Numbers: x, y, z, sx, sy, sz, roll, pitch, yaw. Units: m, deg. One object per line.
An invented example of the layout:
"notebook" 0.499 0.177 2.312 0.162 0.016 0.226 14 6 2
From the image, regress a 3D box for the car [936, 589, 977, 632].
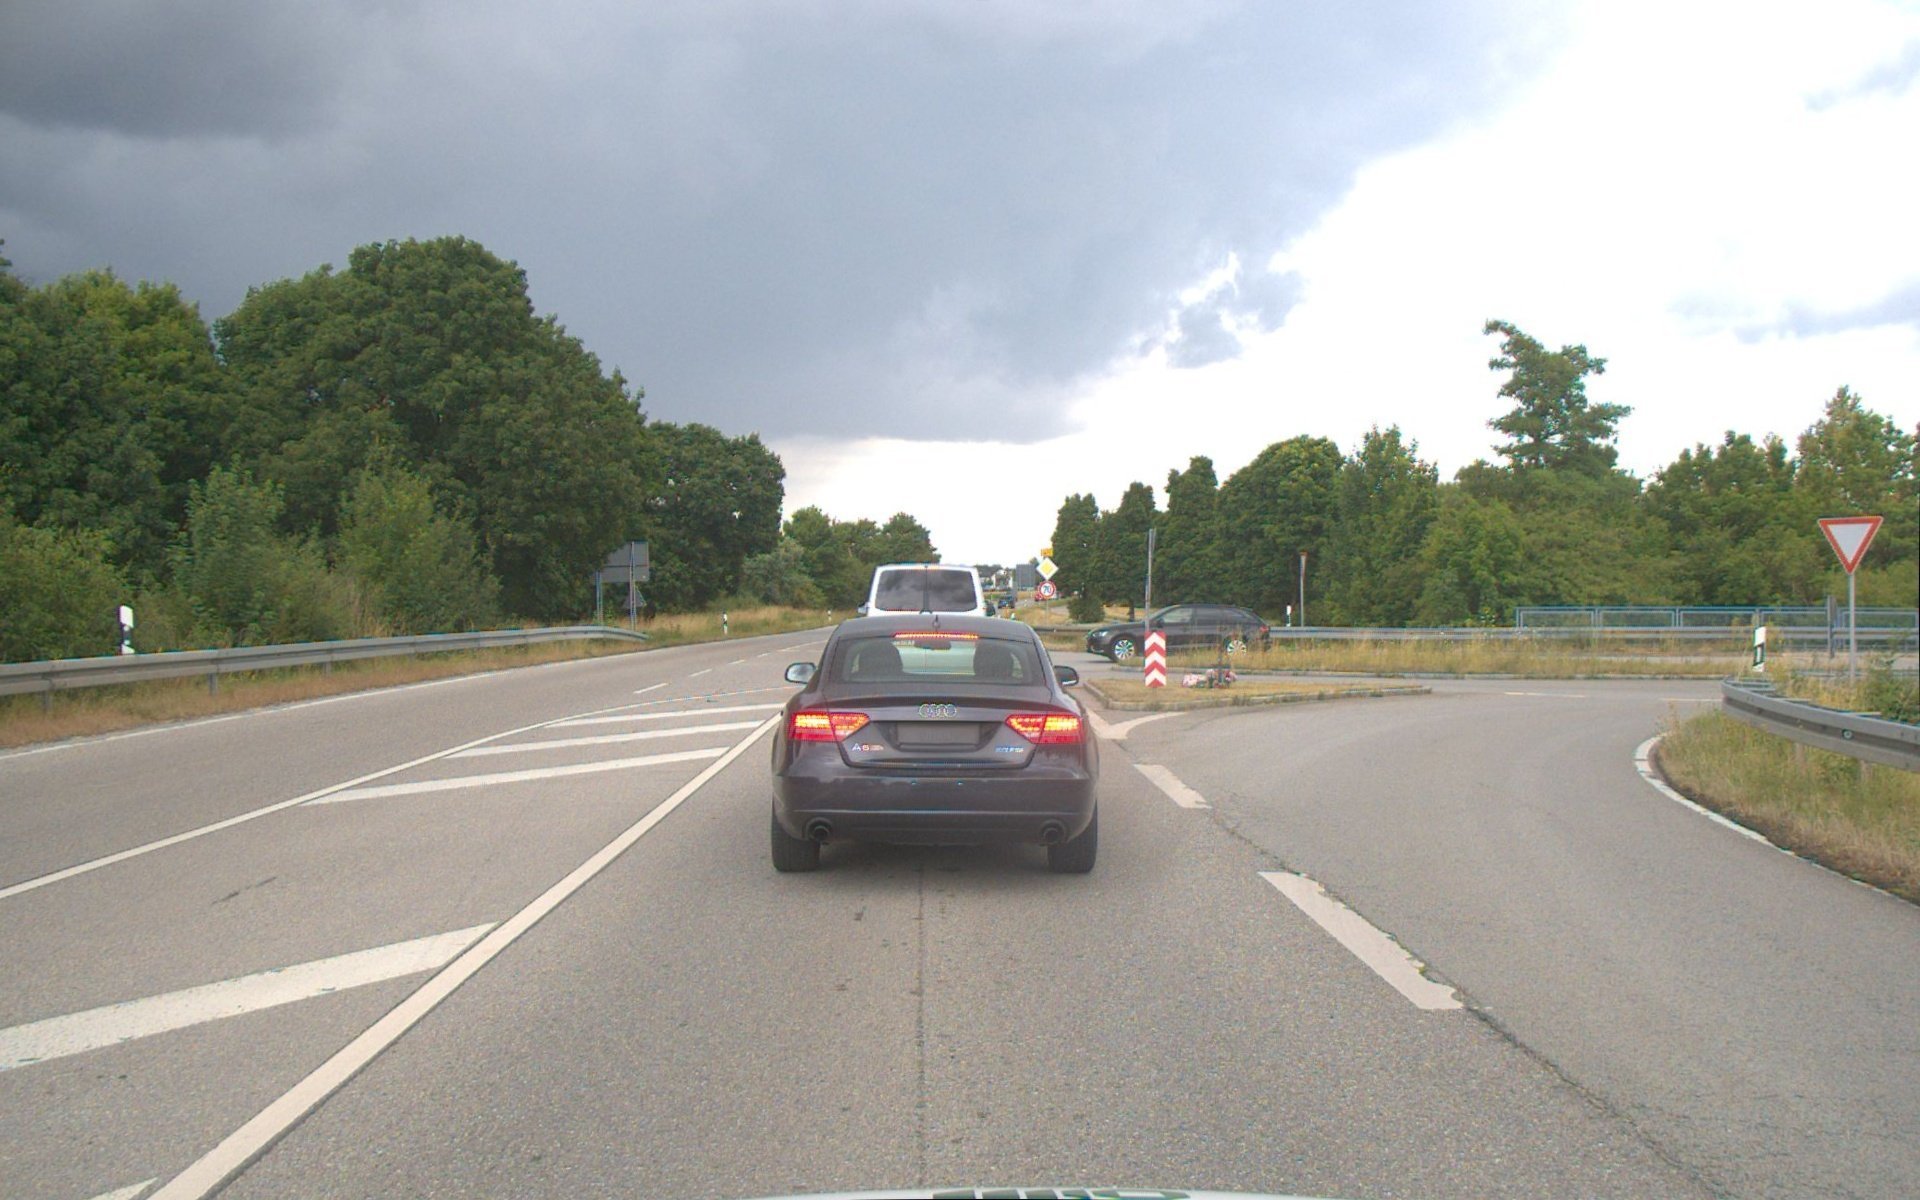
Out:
"car" -0.135 0.536 85.140 1.952 2.125 4.001 0 0 2

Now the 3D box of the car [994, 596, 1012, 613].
"car" 5.226 0.510 200.382 1.953 2.049 3.999 1 0 -1

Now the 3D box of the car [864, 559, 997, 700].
"car" -0.440 0.395 24.719 1.801 1.915 3.999 1 0 -1

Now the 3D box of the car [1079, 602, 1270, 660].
"car" 5.297 0.764 41.205 4.503 1.398 1.826 0 0 -2

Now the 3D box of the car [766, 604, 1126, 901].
"car" -0.094 0.756 10.112 1.746 1.400 3.999 1 0 -1

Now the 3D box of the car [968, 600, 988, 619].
"car" 1.369 0.727 125.784 1.231 1.377 3.468 0 0 5

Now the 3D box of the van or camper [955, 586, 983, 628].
"van or camper" 0.801 0.603 141.690 2.292 3.542 5.719 0 0 1

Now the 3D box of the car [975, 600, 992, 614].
"car" 2.457 0.729 171.677 1.683 1.477 4.000 1 0 0
